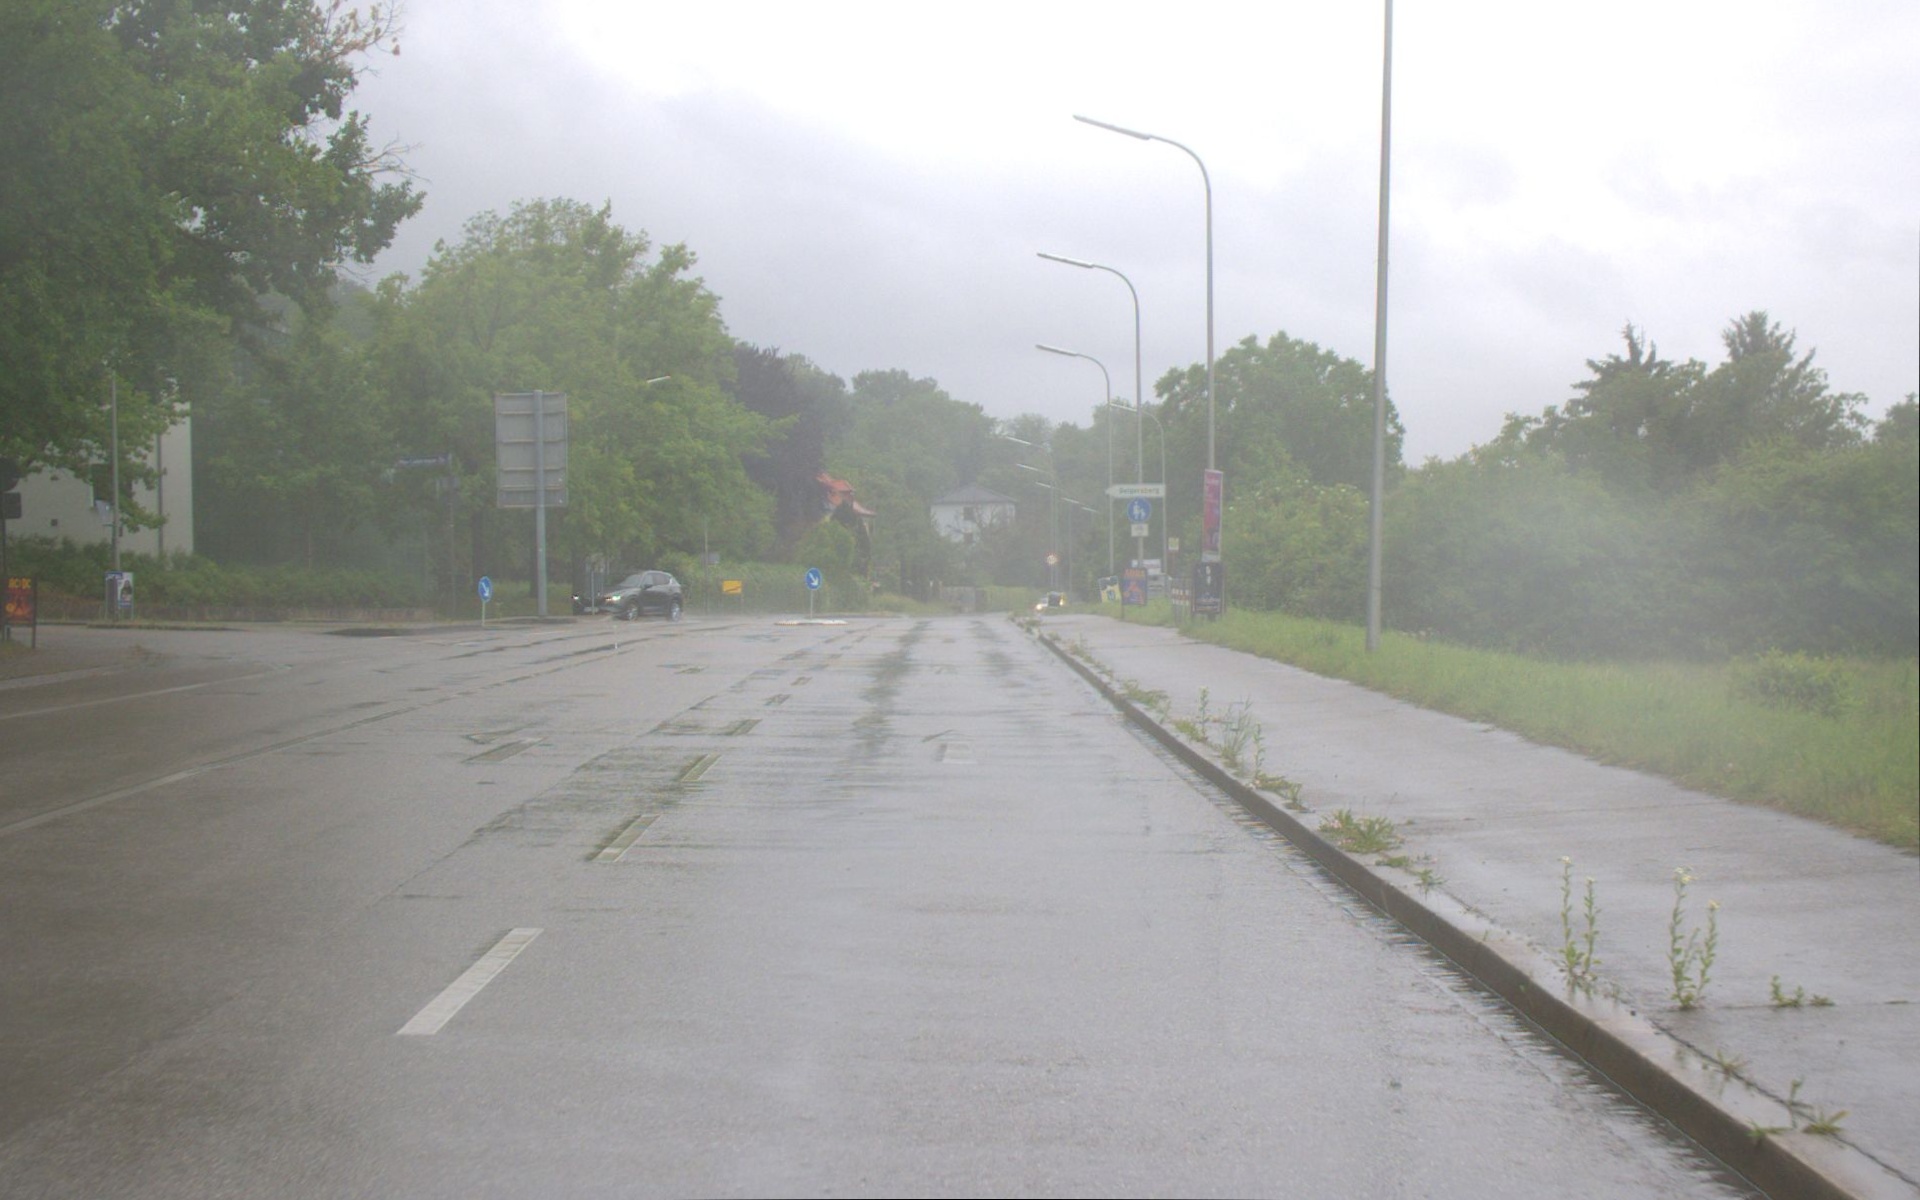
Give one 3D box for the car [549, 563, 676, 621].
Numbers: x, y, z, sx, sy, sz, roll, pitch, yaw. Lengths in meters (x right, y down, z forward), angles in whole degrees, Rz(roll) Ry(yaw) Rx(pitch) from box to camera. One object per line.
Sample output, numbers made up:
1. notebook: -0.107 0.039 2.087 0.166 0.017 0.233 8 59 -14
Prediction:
1. car: -10.746 -0.258 106.639 1.797 1.756 3.992 1 1 33
